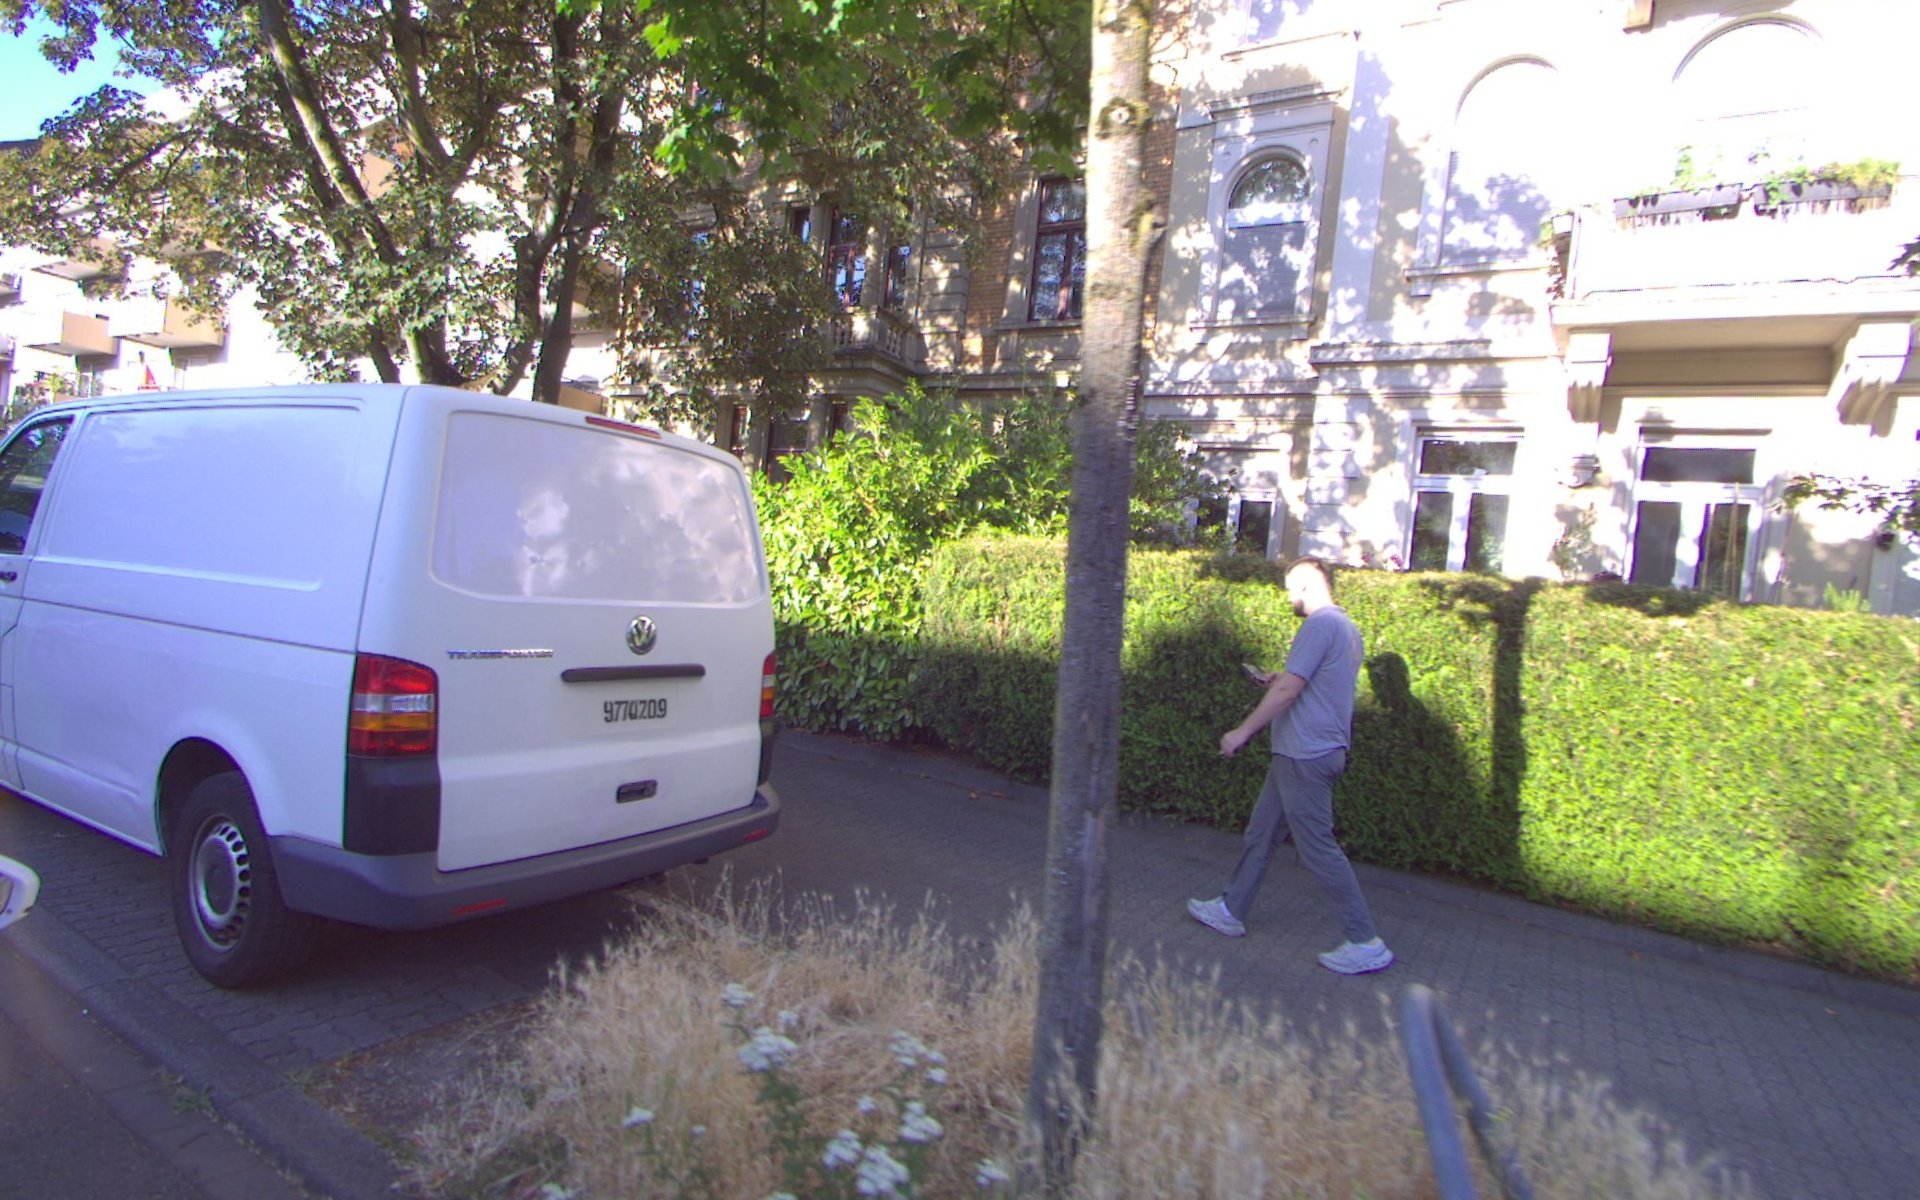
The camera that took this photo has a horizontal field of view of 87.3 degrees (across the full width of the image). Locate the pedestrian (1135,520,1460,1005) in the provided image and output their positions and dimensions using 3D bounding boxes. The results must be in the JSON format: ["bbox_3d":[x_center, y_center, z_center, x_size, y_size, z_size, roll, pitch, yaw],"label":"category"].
[{"bbox_3d":[1.509,0.628,4.449,1.070,1.796,0.822,7,1,28],"label":"pedestrian"}]

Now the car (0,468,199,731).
[{"bbox_3d":[-7.642,-0.193,7.370,4.240,1.625,1.856,6,3,31],"label":"car"}]

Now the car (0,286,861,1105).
[{"bbox_3d":[-2.952,0.099,4.577,4.562,2.129,1.905,6,0,30],"label":"car"}]
